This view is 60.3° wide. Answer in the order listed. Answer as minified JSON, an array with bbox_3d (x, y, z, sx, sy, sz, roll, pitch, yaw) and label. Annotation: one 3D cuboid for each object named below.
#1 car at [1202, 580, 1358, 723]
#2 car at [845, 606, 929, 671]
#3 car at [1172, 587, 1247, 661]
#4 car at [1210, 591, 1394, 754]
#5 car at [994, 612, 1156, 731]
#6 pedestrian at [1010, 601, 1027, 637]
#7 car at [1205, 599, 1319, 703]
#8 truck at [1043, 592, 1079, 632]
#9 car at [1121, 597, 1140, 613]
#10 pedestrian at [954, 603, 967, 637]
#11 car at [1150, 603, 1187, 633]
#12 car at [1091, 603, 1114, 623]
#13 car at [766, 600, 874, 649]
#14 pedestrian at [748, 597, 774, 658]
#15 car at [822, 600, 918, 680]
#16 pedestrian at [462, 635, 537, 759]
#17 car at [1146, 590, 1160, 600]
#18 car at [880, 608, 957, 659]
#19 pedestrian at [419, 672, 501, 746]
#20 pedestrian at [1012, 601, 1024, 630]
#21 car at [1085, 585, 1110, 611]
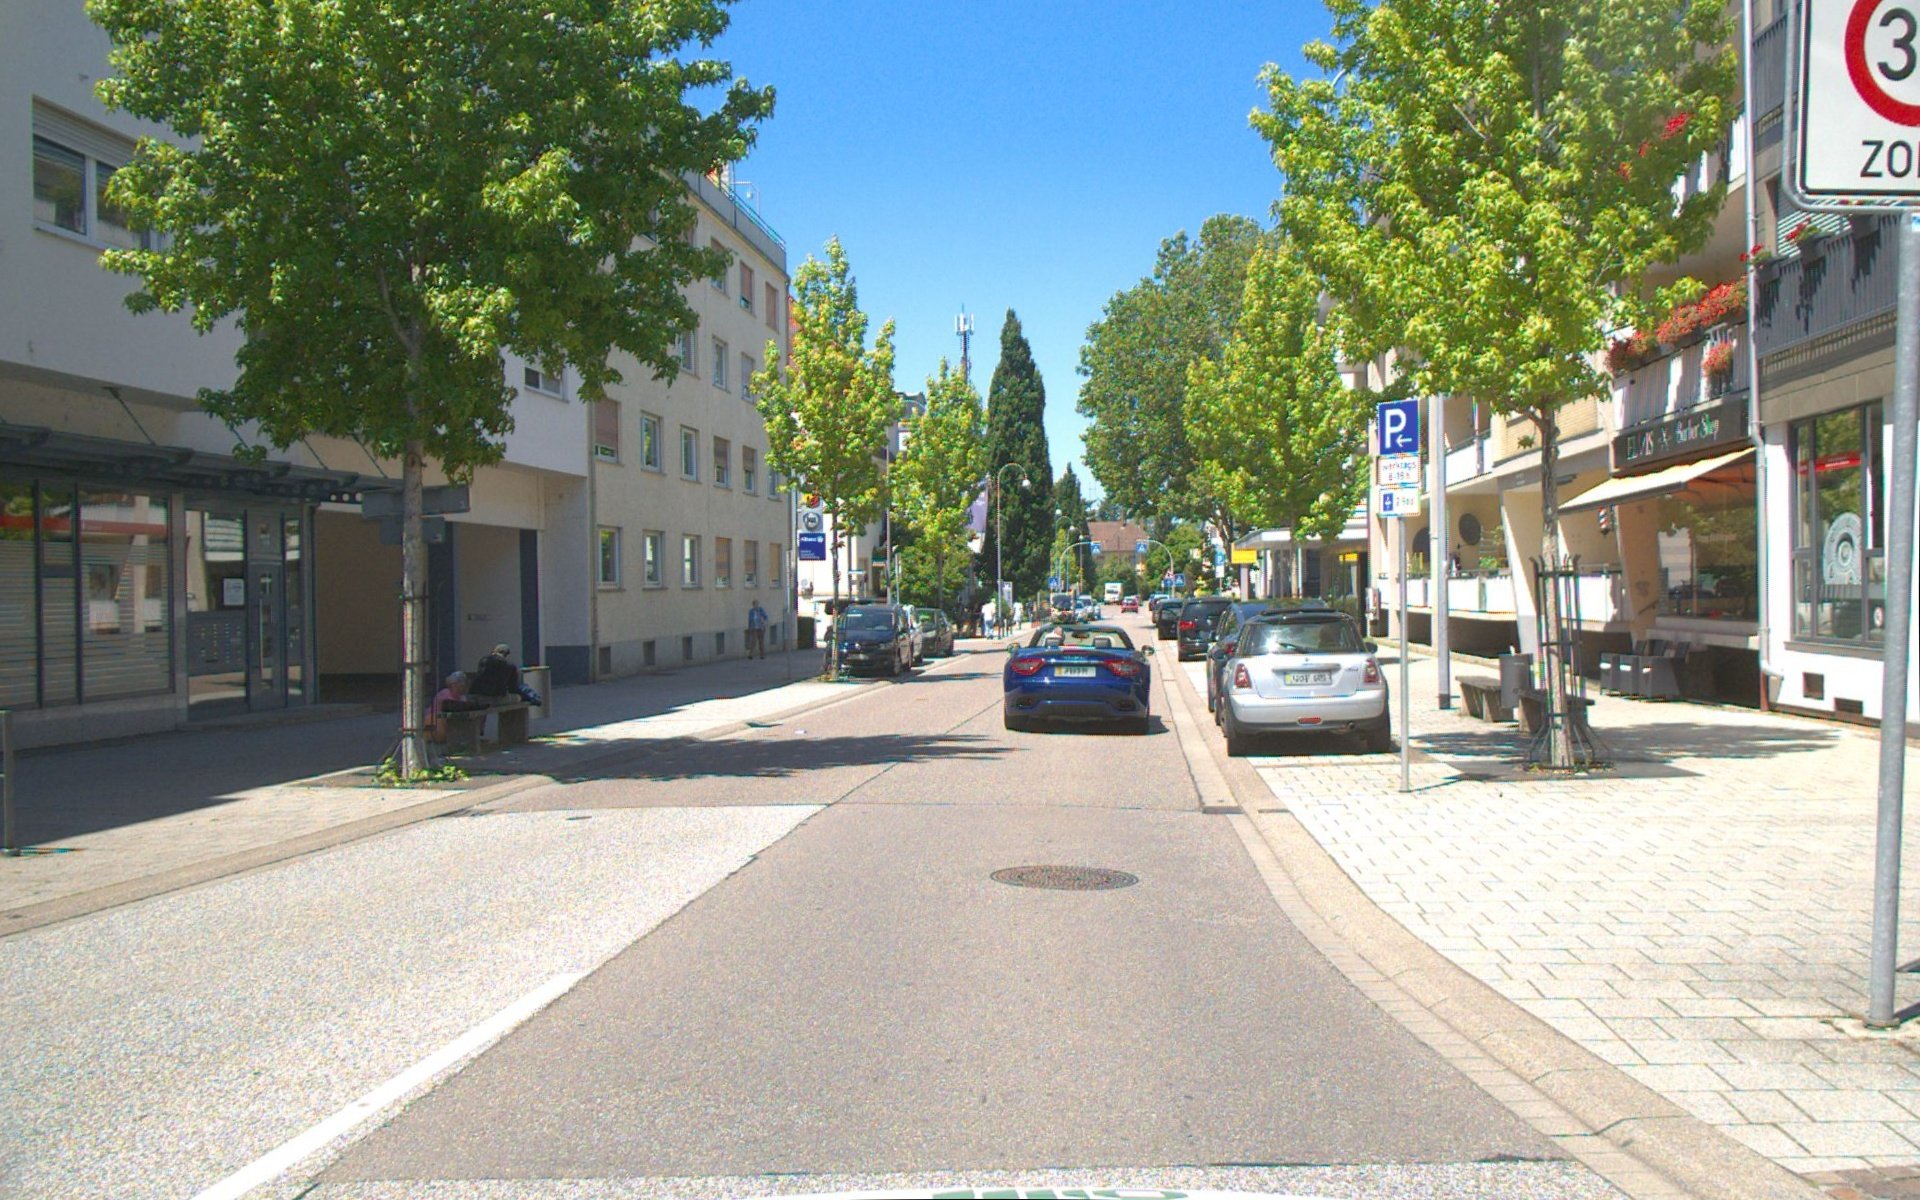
[{"bbox_3d":[4.358,0.657,23.149,1.726,1.735,4.709,-2,0,6],"label":"car"},{"bbox_3d":[-1.979,1.035,46.069,1.785,1.648,4.395,1,1,5],"label":"car"},{"bbox_3d":[7.007,0.629,46.646,1.951,1.830,4.573,-2,1,8],"label":"car"},{"bbox_3d":[3.670,0.731,18.285,1.588,1.586,3.843,-1,0,6],"label":"car"},{"bbox_3d":[1.559,0.905,22.212,1.934,1.423,4.629,0,-1,4],"label":"car"},{"bbox_3d":[3.240,1.049,91.239,0.831,1.949,0.762,-2,2,5],"label":"pedestrian"},{"bbox_3d":[5.119,0.831,28.485,1.685,1.611,4.228,-2,-1,8],"label":"car"},{"bbox_3d":[5.800,0.649,94.409,1.766,2.154,4.718,-2,0,6],"label":"truck"},{"bbox_3d":[16.563,0.484,160.713,1.732,1.502,4.140,0,-1,6],"label":"car"},{"bbox_3d":[0.018,0.905,73.810,0.567,1.500,0.564,-1,0,2],"label":"pedestrian"},{"bbox_3d":[11.717,1.010,93.049,1.934,1.475,4.352,-2,1,6],"label":"car"},{"bbox_3d":[11.420,1.024,132.064,1.732,1.502,4.140,-2,0,6],"label":"car"},{"bbox_3d":[-5.527,0.954,65.591,3.974,1.855,1.761,1,0,4],"label":"car"},{"bbox_3d":[-5.792,0.802,48.043,0.644,1.709,0.630,-2,2,-11],"label":"pedestrian"},{"bbox_3d":[-2.135,0.933,40.535,1.692,1.771,4.395,2,0,5],"label":"car"},{"bbox_3d":[-5.325,1.112,19.155,0.555,1.396,0.667,-2,-1,15],"label":"pedestrian"},{"bbox_3d":[28.839,-0.722,247.085,1.909,1.502,4.141,-2,0,7],"label":"car"},{"bbox_3d":[-1.263,1.027,52.236,1.717,1.500,4.325,1,0,8],"label":"car"},{"bbox_3d":[-6.049,1.320,20.018,0.650,0.873,0.733,-2,-4,15],"label":"pedestrian"},{"bbox_3d":[3.214,0.862,91.270,0.574,1.602,0.782,0,0,5],"label":"pedestrian"},{"bbox_3d":[10.001,-0.176,120.163,1.732,1.798,4.140,-2,0,5],"label":"car"}]
